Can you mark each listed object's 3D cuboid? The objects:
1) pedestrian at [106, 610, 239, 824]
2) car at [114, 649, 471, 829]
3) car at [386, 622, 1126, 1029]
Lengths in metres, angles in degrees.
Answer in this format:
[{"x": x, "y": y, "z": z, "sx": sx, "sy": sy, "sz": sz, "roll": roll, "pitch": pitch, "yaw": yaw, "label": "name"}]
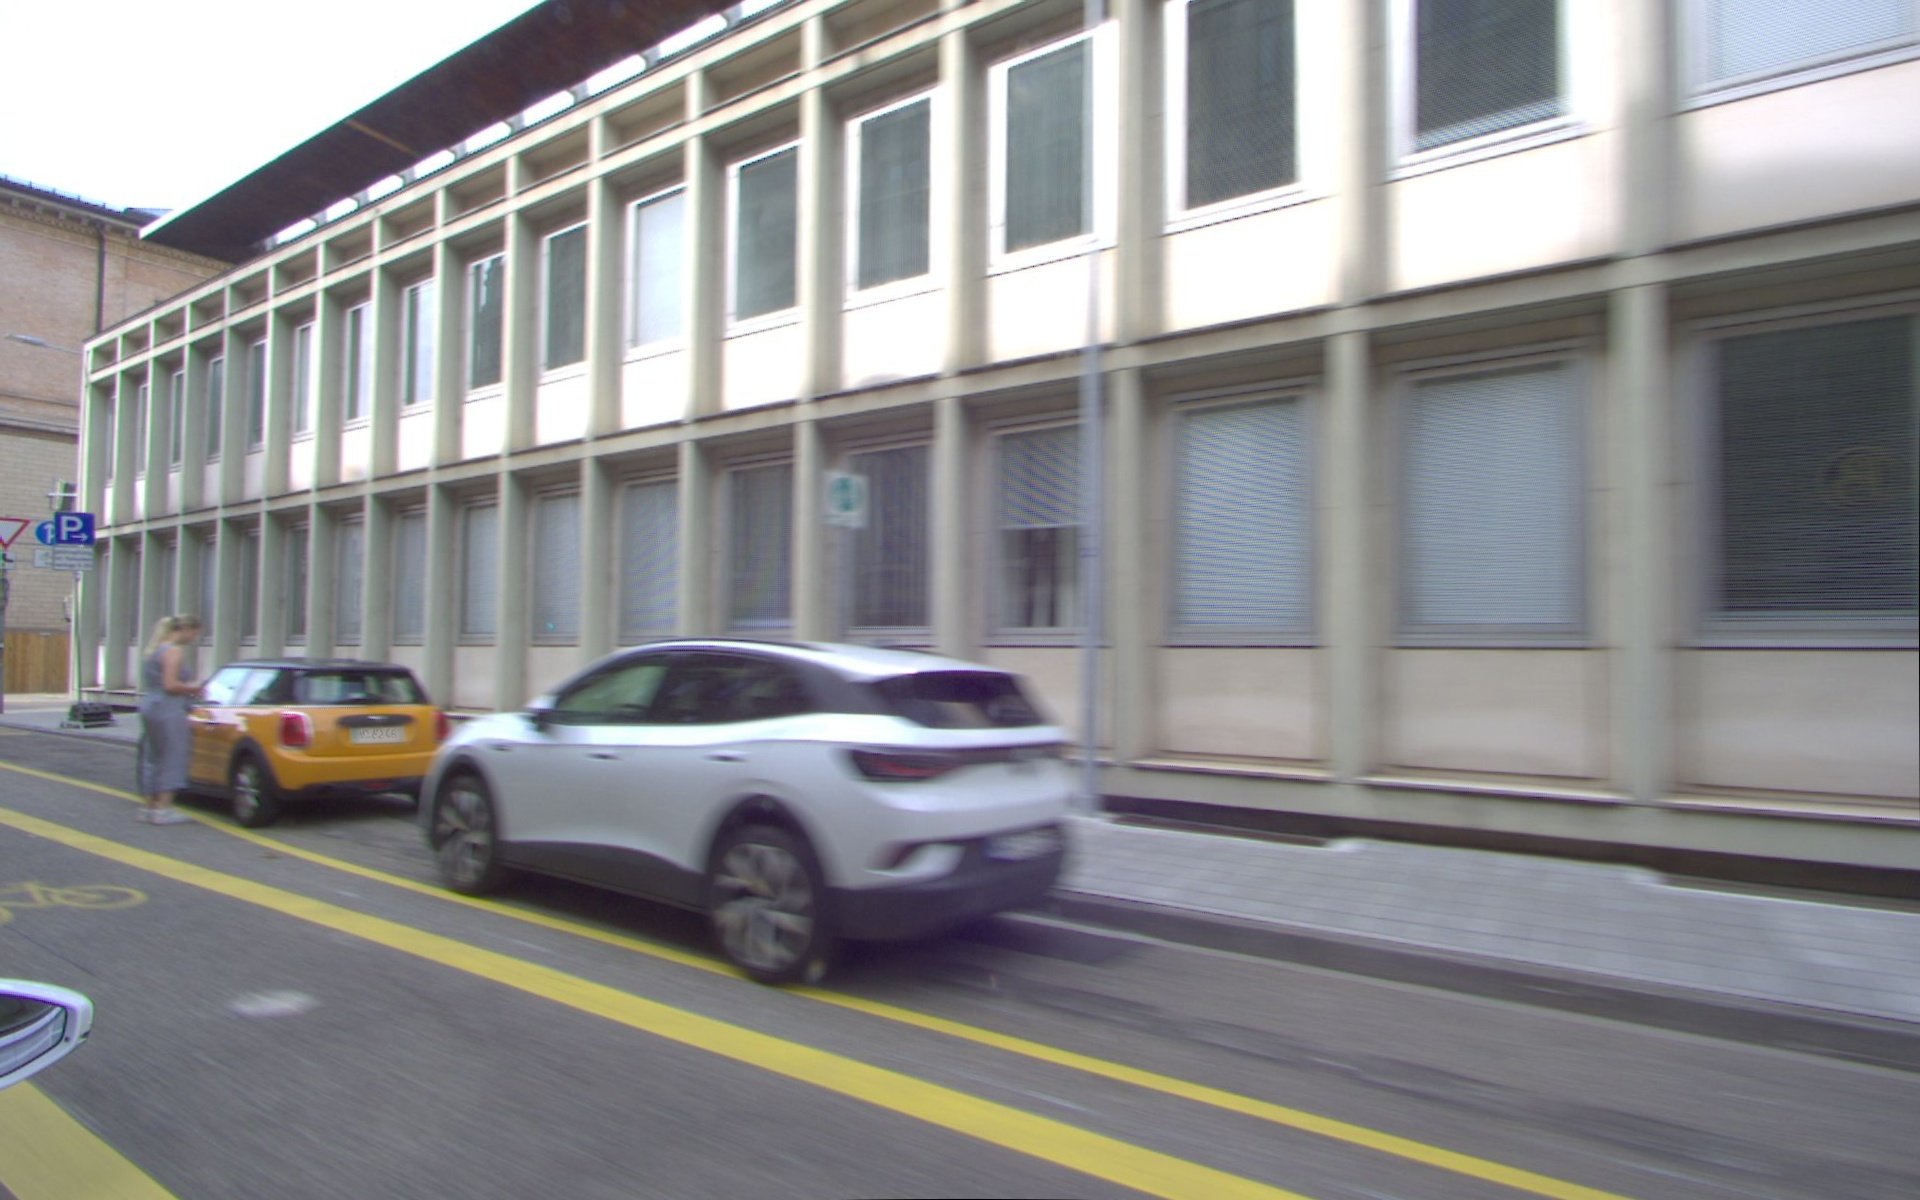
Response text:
[{"x": -6.945, "y": 1.000, "z": 8.843, "sx": 0.696, "sy": 1.785, "sz": 0.697, "roll": -1, "pitch": -3, "yaw": 33, "label": "pedestrian"}, {"x": -6.708, "y": 1.237, "z": 9.956, "sx": 3.836, "sy": 1.452, "sz": 1.676, "roll": -2, "pitch": -4, "yaw": 36, "label": "car"}, {"x": -1.426, "y": 1.058, "z": 6.113, "sx": 4.453, "sy": 1.623, "sz": 1.857, "roll": -2, "pitch": -7, "yaw": 36, "label": "car"}]
